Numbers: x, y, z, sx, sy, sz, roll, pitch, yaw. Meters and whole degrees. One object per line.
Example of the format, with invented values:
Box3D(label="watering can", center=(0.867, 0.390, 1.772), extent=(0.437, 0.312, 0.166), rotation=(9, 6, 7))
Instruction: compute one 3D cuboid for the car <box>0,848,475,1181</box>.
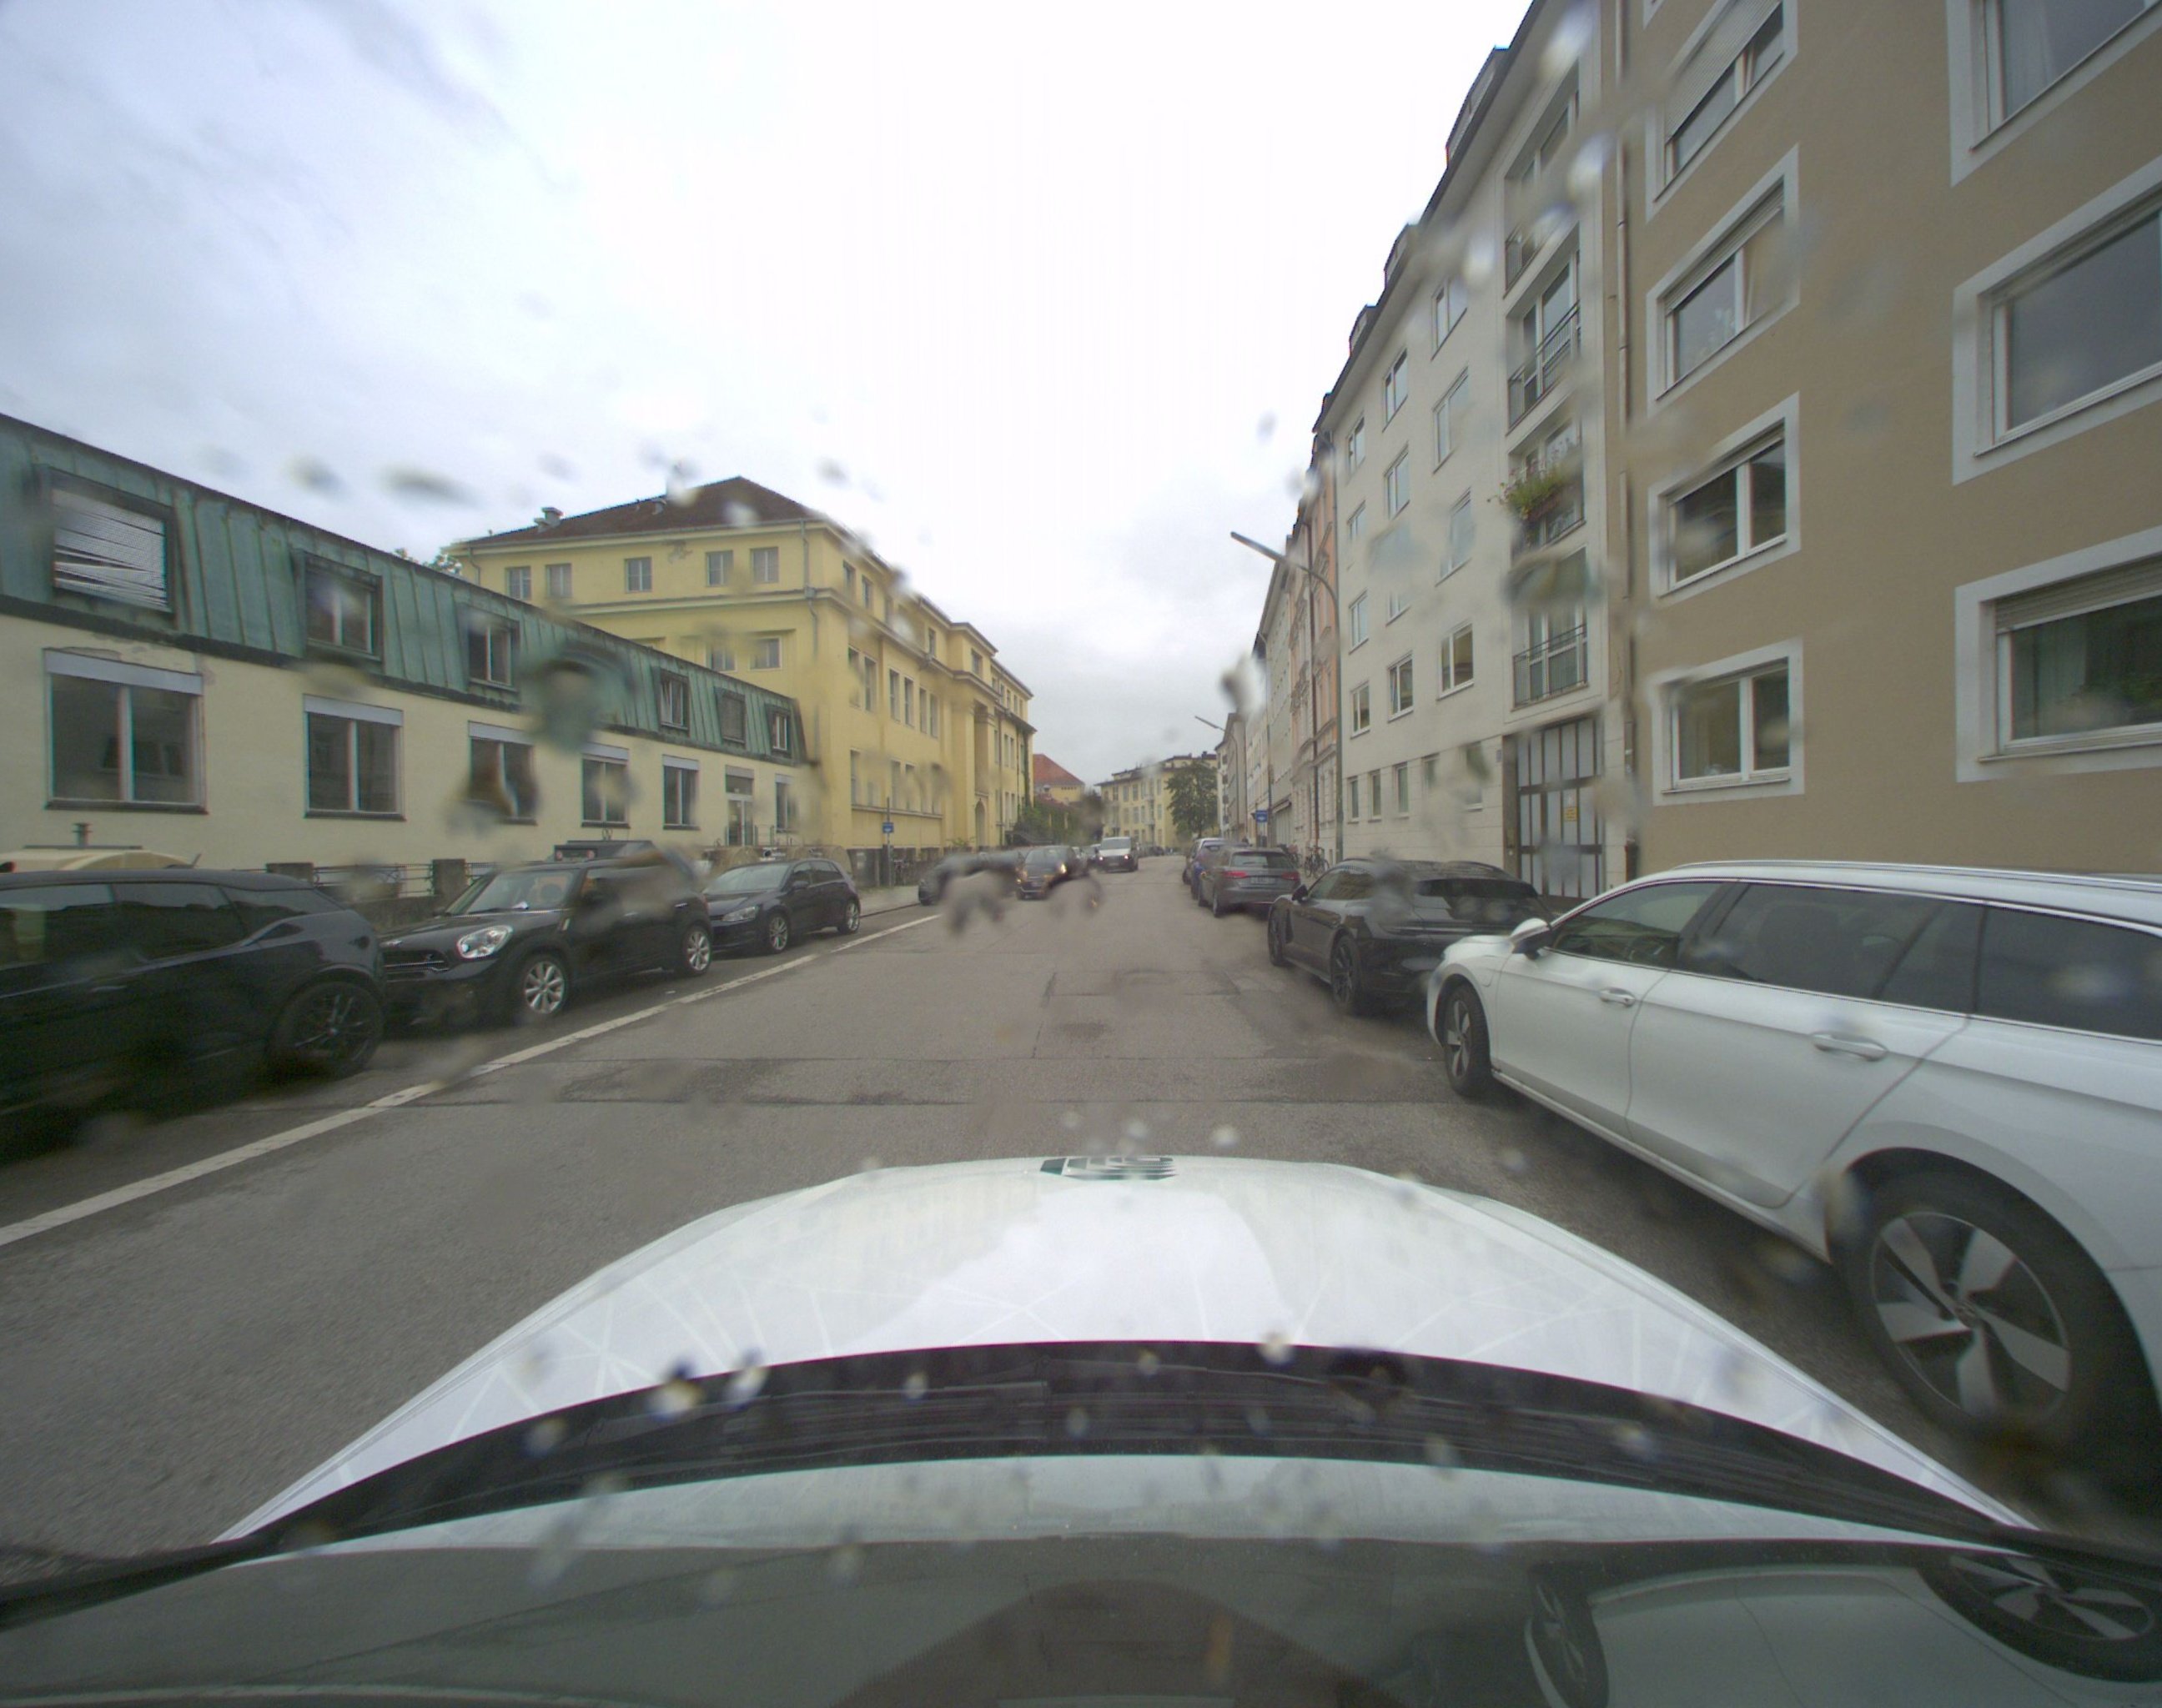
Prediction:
Box3D(label="car", center=(-6.297, 0.870, 4.730), extent=(1.870, 1.636, 4.357), rotation=(-4, 0, 6))

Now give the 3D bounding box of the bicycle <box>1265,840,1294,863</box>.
Box3D(label="bicycle", center=(10.193, -0.136, 41.869), extent=(0.614, 1.089, 1.825), rotation=(-2, 1, 43))

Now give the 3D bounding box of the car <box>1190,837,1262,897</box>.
Box3D(label="car", center=(3.949, 0.295, 22.669), extent=(1.732, 1.494, 4.558), rotation=(-1, 1, 8))

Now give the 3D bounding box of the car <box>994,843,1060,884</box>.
Box3D(label="car", center=(-2.198, 0.356, 34.274), extent=(1.948, 1.482, 4.537), rotation=(-4, 0, 6))

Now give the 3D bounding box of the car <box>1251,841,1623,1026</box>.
Box3D(label="car", center=(3.329, 0.610, 8.952), extent=(1.947, 1.414, 5.115), rotation=(-1, 0, 1))

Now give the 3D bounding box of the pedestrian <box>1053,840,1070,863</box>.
Box3D(label="pedestrian", center=(-1.502, -0.171, 63.677), extent=(0.893, 1.719, 1.065), rotation=(-3, 1, 25))

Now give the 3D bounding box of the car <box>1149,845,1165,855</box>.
Box3D(label="car", center=(14.827, -0.755, 158.757), extent=(1.765, 1.874, 4.358), rotation=(3, 0, -14))

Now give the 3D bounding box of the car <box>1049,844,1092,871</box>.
Box3D(label="car", center=(-0.564, 0.166, 47.473), extent=(1.774, 1.431, 4.663), rotation=(-1, 0, 8))

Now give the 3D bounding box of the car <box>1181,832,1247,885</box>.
Box3D(label="car", center=(4.499, 0.124, 27.942), extent=(1.675, 1.673, 3.804), rotation=(0, 1, 0))

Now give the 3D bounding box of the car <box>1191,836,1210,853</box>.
Box3D(label="car", center=(17.758, -1.350, 121.420), extent=(2.071, 2.234, 5.246), rotation=(3, -2, 2))

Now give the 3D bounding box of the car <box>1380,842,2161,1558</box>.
Box3D(label="car", center=(3.130, 0.676, 3.551), extent=(1.848, 1.414, 5.015), rotation=(-1, 1, 1))

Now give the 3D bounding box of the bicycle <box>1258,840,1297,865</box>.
Box3D(label="bicycle", center=(9.570, -0.078, 39.644), extent=(2.101, 1.139, 0.578), rotation=(-3, 1, -36))

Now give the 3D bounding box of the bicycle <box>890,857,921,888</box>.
Box3D(label="bicycle", center=(-7.148, 0.724, 33.268), extent=(0.532, 1.185, 2.111), rotation=(-1, 0, 8))

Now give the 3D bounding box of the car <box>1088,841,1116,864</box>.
Box3D(label="car", center=(1.644, -0.124, 62.656), extent=(1.737, 1.634, 4.864), rotation=(-3, 0, 6))

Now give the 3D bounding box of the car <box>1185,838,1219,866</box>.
Box3D(label="car", center=(6.536, -0.108, 43.646), extent=(1.677, 1.402, 4.375), rotation=(-1, 0, 9))

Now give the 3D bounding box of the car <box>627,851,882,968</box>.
Box3D(label="car", center=(-5.269, 0.798, 13.962), extent=(1.902, 1.481, 4.543), rotation=(-4, 1, 9))

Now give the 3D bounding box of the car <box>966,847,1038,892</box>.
Box3D(label="car", center=(-2.779, 0.508, 29.642), extent=(1.741, 1.405, 4.361), rotation=(-4, 0, 5))

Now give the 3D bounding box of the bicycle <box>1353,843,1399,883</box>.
Box3D(label="bicycle", center=(8.435, 0.232, 23.360), extent=(0.527, 1.071, 1.999), rotation=(-2, 1, -2))

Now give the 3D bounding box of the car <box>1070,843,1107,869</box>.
Box3D(label="car", center=(0.536, 0.111, 52.618), extent=(1.690, 1.497, 4.158), rotation=(-5, 0, 8))

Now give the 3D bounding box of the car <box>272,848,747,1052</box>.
Box3D(label="car", center=(-5.864, 0.824, 9.225), extent=(1.904, 1.587, 4.359), rotation=(-5, 0, 5))

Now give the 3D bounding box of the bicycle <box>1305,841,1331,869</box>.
Box3D(label="bicycle", center=(9.309, 0.030, 32.054), extent=(0.593, 1.024, 1.820), rotation=(-2, 1, 5))

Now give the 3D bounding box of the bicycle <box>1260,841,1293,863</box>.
Box3D(label="bicycle", center=(10.216, -0.125, 42.470), extent=(1.855, 1.067, 0.510), rotation=(-3, 1, -34))

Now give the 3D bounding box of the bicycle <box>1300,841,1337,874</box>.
Box3D(label="bicycle", center=(8.395, 0.111, 28.831), extent=(0.720, 1.112, 1.995), rotation=(-2, 1, 0))

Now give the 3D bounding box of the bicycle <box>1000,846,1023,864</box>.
Box3D(label="bicycle", center=(-5.295, 0.068, 61.879), extent=(1.616, 1.268, 0.528), rotation=(-2, 0, 9))

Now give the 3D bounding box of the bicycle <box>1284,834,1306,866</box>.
Box3D(label="bicycle", center=(9.897, -0.195, 37.723), extent=(0.593, 1.385, 2.095), rotation=(-2, 1, 5))

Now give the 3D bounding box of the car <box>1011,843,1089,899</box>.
Box3D(label="car", center=(-0.831, 0.444, 24.114), extent=(1.652, 1.474, 3.716), rotation=(-2, 0, 8))

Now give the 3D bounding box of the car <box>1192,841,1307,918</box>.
Box3D(label="car", center=(3.550, 0.461, 17.884), extent=(1.699, 1.454, 4.404), rotation=(1, 1, 1))

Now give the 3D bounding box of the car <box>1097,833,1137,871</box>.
Box3D(label="car", center=(1.990, -0.109, 43.399), extent=(1.906, 1.848, 5.328), rotation=(-1, 0, 5))

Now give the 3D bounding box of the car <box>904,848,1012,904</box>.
Box3D(label="car", center=(-3.581, 0.604, 24.653), extent=(2.004, 1.418, 4.624), rotation=(-4, 0, 6))

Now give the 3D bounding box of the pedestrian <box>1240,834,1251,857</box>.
Box3D(label="pedestrian", center=(12.870, -0.665, 63.666), extent=(0.718, 1.763, 0.907), rotation=(-1, -2, 9))
